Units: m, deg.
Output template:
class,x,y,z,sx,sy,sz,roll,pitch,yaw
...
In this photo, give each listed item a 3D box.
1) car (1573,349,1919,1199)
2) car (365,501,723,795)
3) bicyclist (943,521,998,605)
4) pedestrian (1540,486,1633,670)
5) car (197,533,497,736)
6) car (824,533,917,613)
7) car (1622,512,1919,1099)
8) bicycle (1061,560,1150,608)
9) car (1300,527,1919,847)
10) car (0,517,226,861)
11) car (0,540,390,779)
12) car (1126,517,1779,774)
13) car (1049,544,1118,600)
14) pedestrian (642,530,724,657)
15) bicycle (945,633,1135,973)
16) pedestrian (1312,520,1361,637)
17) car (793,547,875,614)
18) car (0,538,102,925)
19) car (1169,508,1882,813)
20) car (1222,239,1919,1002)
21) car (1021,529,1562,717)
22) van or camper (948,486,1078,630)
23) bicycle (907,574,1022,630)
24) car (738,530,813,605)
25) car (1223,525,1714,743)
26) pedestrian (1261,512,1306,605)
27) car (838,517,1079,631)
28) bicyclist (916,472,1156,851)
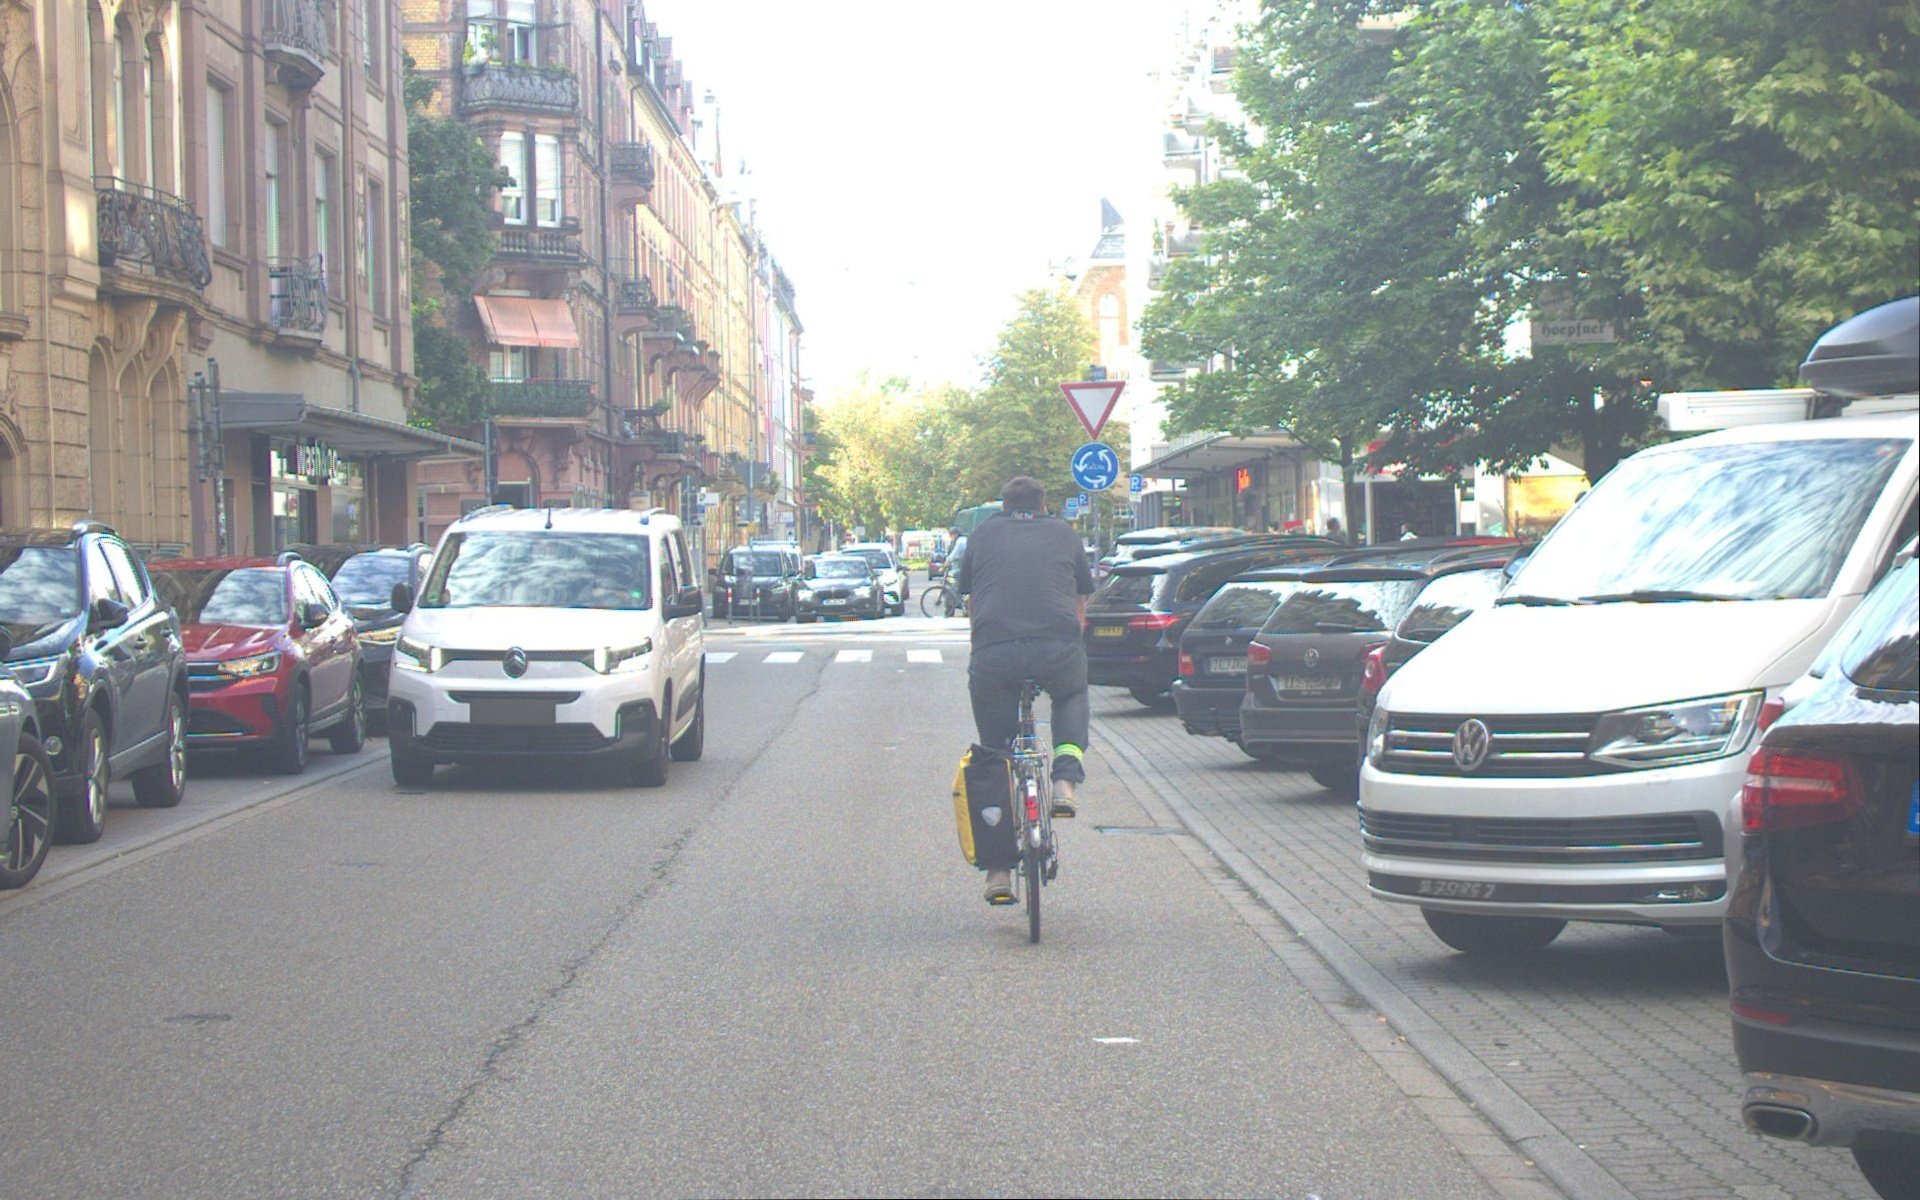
class,x,y,z,sx,sy,sz,roll,pitch,yaw
car,3.604,0.385,7.271,4.444,1.726,2.000,-1,1,-35
car,-2.742,0.269,23.620,1.917,1.822,4.438,0,1,0
bicyclist,0.212,-0.751,68.623,0.855,1.660,0.789,1,1,20
pedestrian,6.511,-0.232,35.761,0.839,1.871,0.723,-1,1,4
car,-5.320,0.259,30.436,1.790,1.623,4.847,-1,1,0
car,-2.144,-0.692,83.963,1.943,1.716,4.850,-3,2,2
car,4.179,0.508,10.380,4.224,1.544,1.873,-1,2,-35
bicycle,3.326,-0.359,78.644,2.000,1.042,0.532,-1,1,2
car,3.884,0.396,18.794,3.983,1.454,1.750,-3,2,-42
car,-5.405,0.379,19.226,1.872,1.675,4.895,0,1,-4
car,-5.471,0.373,24.964,1.993,1.539,4.427,-1,1,-1
car,3.552,0.263,24.429,4.455,1.459,1.879,-4,3,-35
car,3.194,-0.734,89.121,1.645,1.320,3.576,-4,1,1
pedestrian,-3.945,-0.093,48.944,0.783,1.773,0.791,-1,1,38
bicycle,0.284,0.748,13.728,0.665,1.174,2.497,0,1,-1
pedestrian,5.643,-0.325,51.499,0.629,1.733,0.775,-1,1,12
car,-2.750,-0.423,75.259,1.750,1.431,4.212,0,0,-2
car,-4.788,0.536,13.571,1.825,1.573,5.264,0,1,-4
car,3.614,0.307,21.527,4.456,1.472,1.889,-5,3,-40
car,3.658,-0.028,12.993,5.144,2.397,1.918,-3,1,-33
car,3.185,0.169,32.852,4.753,1.452,2.057,-4,3,-28
van or camper,1.130,-0.931,75.759,2.531,3.027,4.459,-1,1,-2
bicycle,0.082,0.030,68.663,2.187,1.088,0.677,1,1,18
car,-5.124,-0.924,95.924,1.993,2.007,4.001,-2,1,-2
car,4.071,0.227,27.310,3.709,1.480,1.741,-4,2,-38
pedestrian,6.500,-0.837,69.055,0.869,1.845,0.612,-1,1,5
car,-0.048,-0.452,57.982,3.987,1.875,2.000,0,1,-1
bicyclist,0.291,0.237,13.800,0.933,1.479,0.747,0,1,-1
